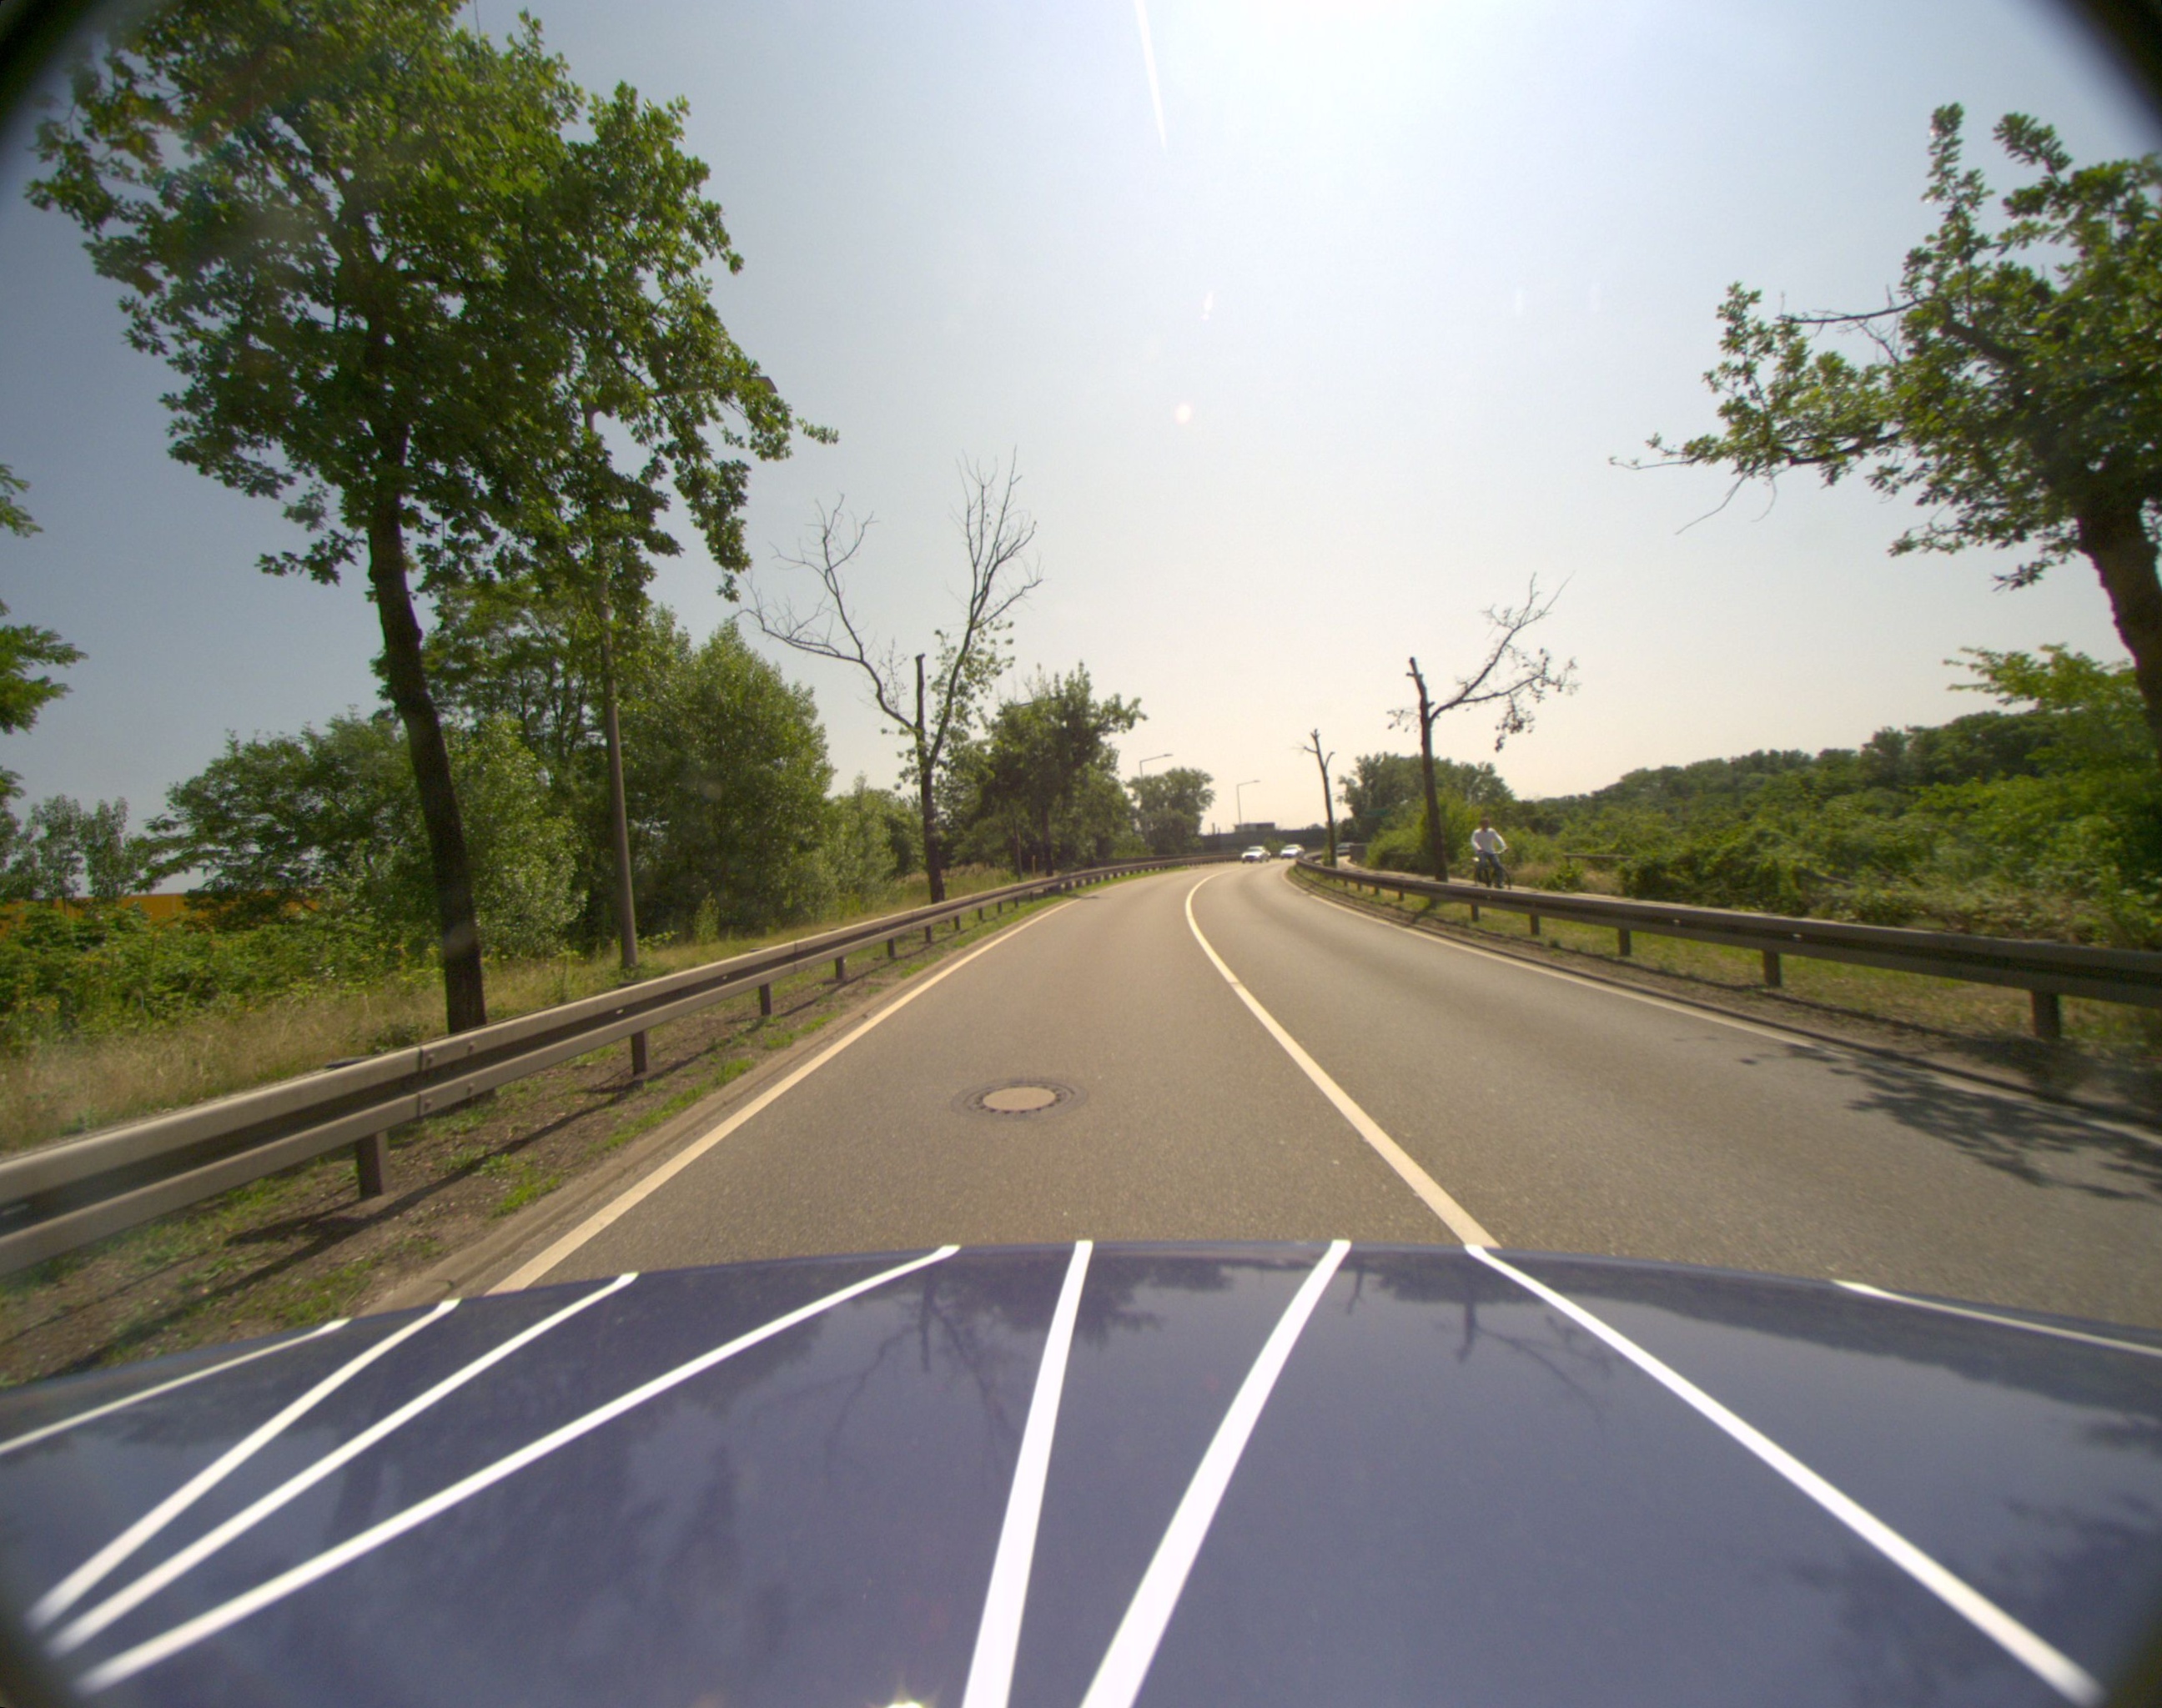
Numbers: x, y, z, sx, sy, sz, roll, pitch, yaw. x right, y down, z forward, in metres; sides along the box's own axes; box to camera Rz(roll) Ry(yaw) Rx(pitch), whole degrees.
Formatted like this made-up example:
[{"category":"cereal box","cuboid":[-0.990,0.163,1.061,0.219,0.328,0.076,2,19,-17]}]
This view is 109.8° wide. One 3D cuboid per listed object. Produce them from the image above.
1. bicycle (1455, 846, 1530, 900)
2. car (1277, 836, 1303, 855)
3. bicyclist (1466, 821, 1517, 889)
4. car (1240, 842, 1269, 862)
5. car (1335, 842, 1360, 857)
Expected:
[{"category":"bicycle","cuboid":[9.043,0.388,16.794,0.735,1.110,2.047,-1,1,6]},{"category":"car","cuboid":[22.083,-0.892,80.290,1.796,1.773,4.300,-2,1,27]},{"category":"bicyclist","cuboid":[9.032,0.024,16.726,0.731,1.457,0.824,-1,1,6]},{"category":"car","cuboid":[15.237,-0.182,66.533,1.760,1.491,4.238,-2,2,22]},{"category":"car","cuboid":[29.371,-0.508,83.723,1.805,1.408,4.365,-2,1,30]}]
